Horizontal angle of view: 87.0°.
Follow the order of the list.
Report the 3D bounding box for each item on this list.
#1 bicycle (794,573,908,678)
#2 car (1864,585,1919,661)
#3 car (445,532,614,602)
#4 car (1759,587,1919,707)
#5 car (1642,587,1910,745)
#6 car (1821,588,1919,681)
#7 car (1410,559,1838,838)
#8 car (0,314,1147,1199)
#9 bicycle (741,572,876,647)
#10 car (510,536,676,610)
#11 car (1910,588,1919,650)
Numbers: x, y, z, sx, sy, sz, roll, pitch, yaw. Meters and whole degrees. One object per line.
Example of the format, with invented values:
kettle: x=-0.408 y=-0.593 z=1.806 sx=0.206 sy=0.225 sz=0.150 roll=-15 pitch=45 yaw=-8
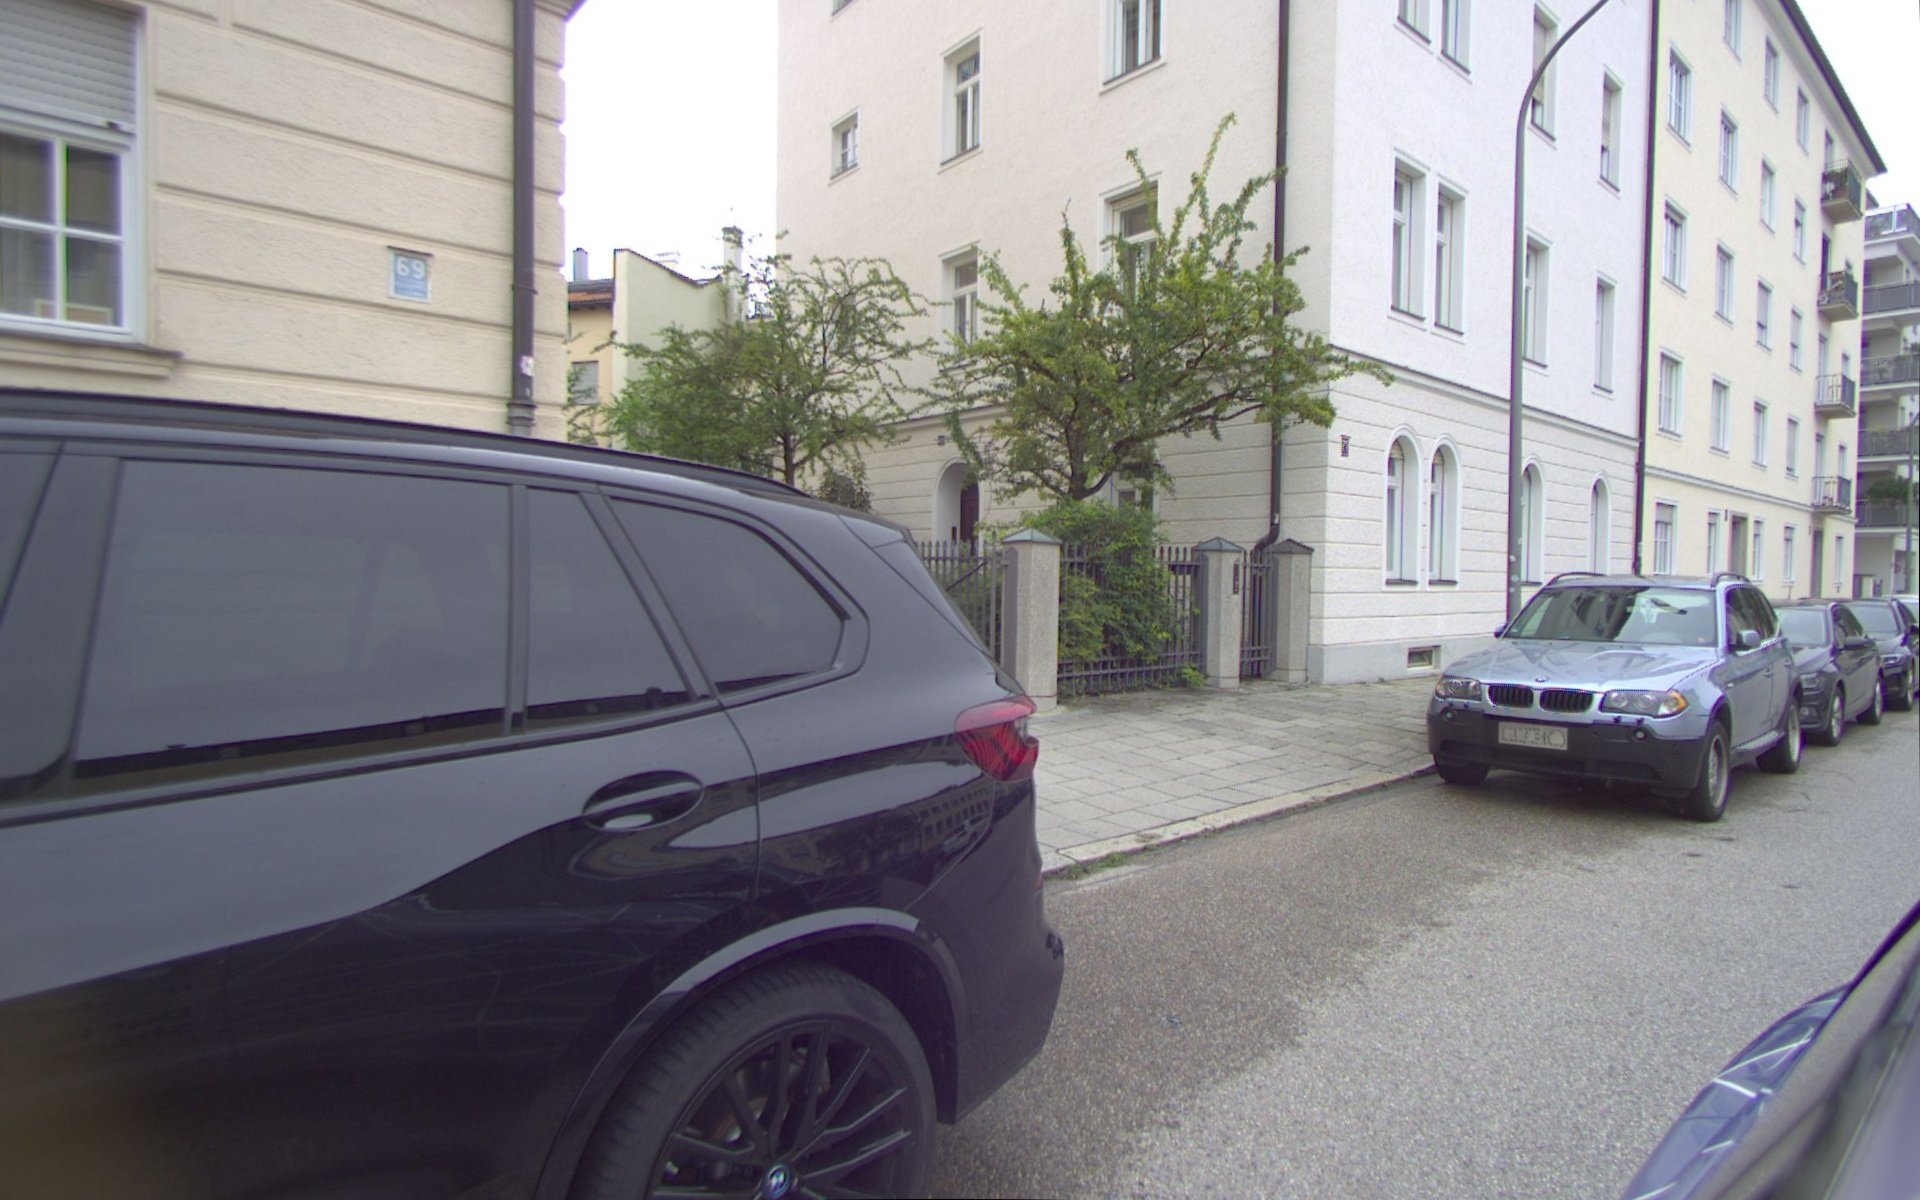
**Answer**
bicycle: x=-1.376 y=0.267 z=12.463 sx=0.570 sy=1.107 sz=1.880 roll=-1 pitch=4 yaw=-34
car: x=20.636 y=0.444 z=21.497 sx=4.096 sy=1.500 sz=1.682 roll=-1 pitch=2 yaw=-42
car: x=-10.675 y=-0.857 z=25.453 sx=1.904 sy=1.567 sz=4.231 roll=2 pitch=3 yaw=11
car: x=13.043 y=0.556 z=14.588 sx=4.316 sy=1.445 sz=1.682 roll=-1 pitch=2 yaw=-42
car: x=9.363 y=0.599 z=11.504 sx=4.016 sy=1.445 sz=1.682 roll=-1 pitch=2 yaw=-41
car: x=16.680 y=0.536 z=17.891 sx=4.096 sy=1.445 sz=1.682 roll=-1 pitch=2 yaw=-42
car: x=5.468 y=0.531 z=8.085 sx=4.380 sy=1.654 sz=1.725 roll=-1 pitch=2 yaw=-41
car: x=-1.970 y=0.547 z=1.603 sx=4.780 sy=1.738 sz=1.872 roll=-1 pitch=1 yaw=-40
bicycle: x=-2.227 y=0.116 z=15.042 sx=1.916 sy=1.027 sz=0.581 roll=-2 pitch=1 yaw=-35
car: x=-8.444 y=-0.671 z=23.720 sx=1.754 sy=1.533 sz=4.231 roll=2 pitch=3 yaw=11
car: x=24.357 y=0.447 z=24.413 sx=4.366 sy=1.427 sz=1.682 roll=-1 pitch=2 yaw=-41
